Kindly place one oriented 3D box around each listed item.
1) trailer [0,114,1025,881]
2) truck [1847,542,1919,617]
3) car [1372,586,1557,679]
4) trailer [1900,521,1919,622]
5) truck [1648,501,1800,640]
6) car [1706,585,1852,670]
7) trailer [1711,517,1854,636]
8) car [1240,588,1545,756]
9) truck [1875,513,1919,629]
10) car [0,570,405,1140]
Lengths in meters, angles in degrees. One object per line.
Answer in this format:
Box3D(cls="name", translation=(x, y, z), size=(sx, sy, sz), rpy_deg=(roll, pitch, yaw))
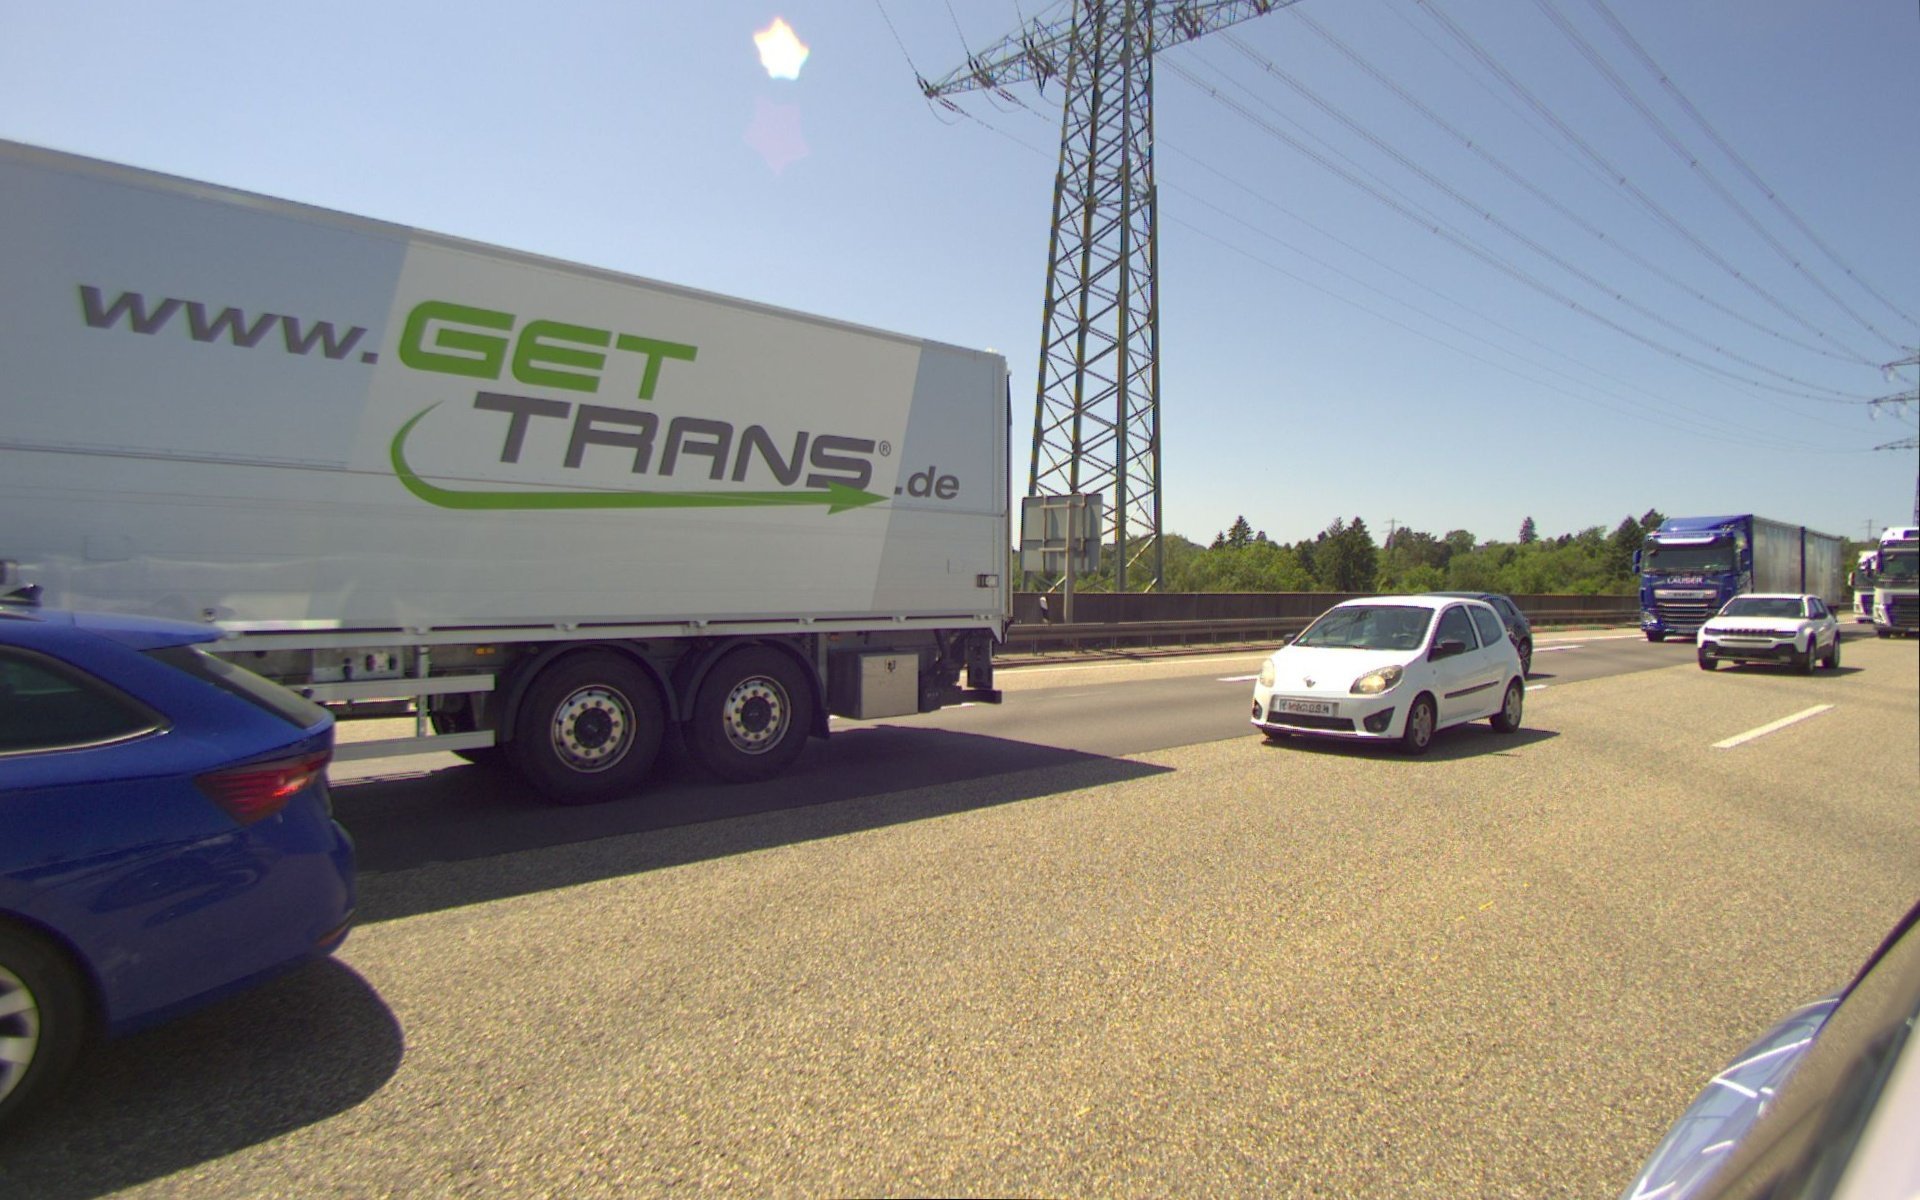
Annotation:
Box3D(cls="trailer", translation=(-3.364, -0.503, 7.772), size=(8.148, 3.640, 2.848), rpy_deg=(0, 0, -42))
Box3D(cls="truck", translation=(52.227, -1.127, 56.733), size=(6.624, 3.941, 2.911), rpy_deg=(-1, 0, -41))
Box3D(cls="car", translation=(9.244, 0.511, 18.437), size=(3.821, 1.524, 1.708), rpy_deg=(0, 1, -41))
Box3D(cls="trailer", translation=(41.303, -1.159, 41.631), size=(9.605, 3.918, 2.895), rpy_deg=(-1, 0, -41))
Box3D(cls="truck", translation=(24.947, -0.882, 32.885), size=(7.790, 4.018, 2.515), rpy_deg=(0, 0, -42))
Box3D(cls="car", translation=(16.497, 0.487, 20.334), size=(3.688, 1.554, 1.720), rpy_deg=(0, 1, -42))
Box3D(cls="trailer", translation=(31.871, -0.884, 38.994), size=(10.697, 4.044, 2.541), rpy_deg=(-1, 0, -41))
Box3D(cls="car", translation=(4.628, 0.612, 10.622), size=(3.566, 1.458, 1.582), rpy_deg=(0, 1, -41))
Box3D(cls="truck", translation=(35.212, -1.033, 36.237), size=(6.624, 3.941, 2.911), rpy_deg=(-1, 0, -41))
Box3D(cls="car", translation=(-3.963, 0.651, 2.357), size=(4.424, 1.458, 1.712), rpy_deg=(0, 1, -43))
